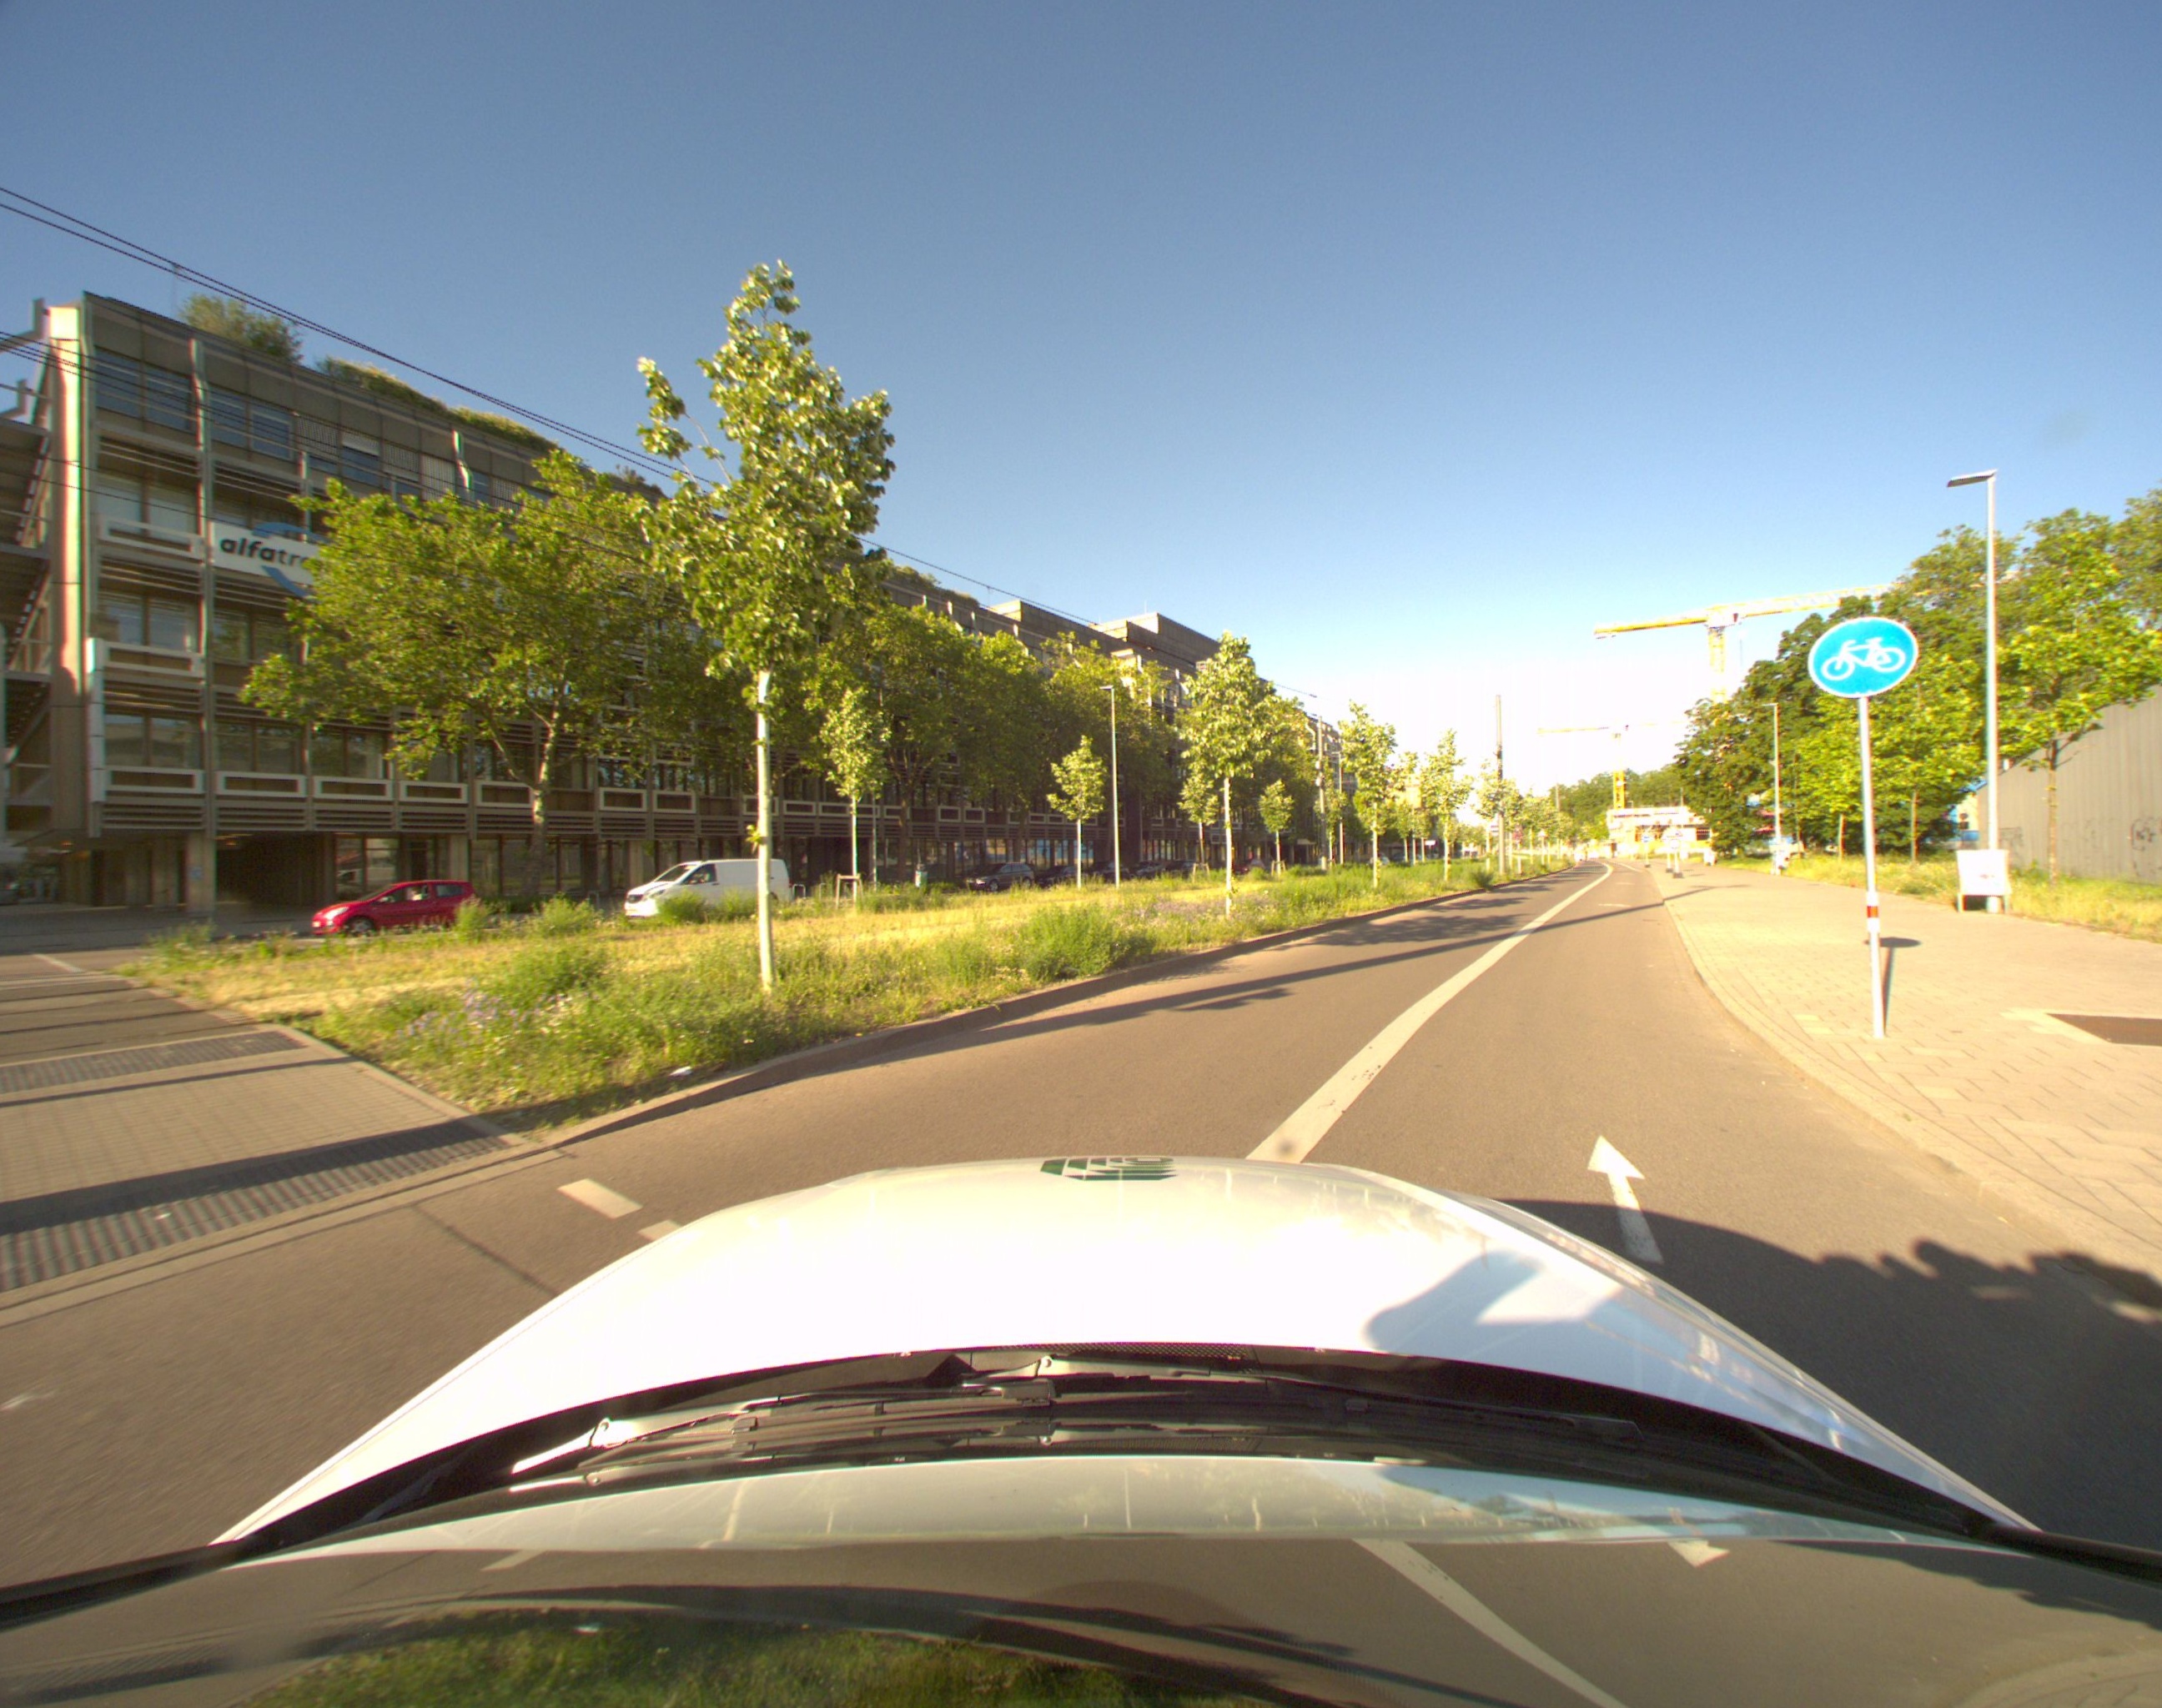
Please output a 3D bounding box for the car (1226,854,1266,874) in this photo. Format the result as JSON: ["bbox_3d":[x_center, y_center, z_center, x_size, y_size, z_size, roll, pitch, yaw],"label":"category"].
[{"bbox_3d":[13.858,0.836,68.379,1.694,1.453,3.598,-5,-2,39],"label":"car"}]

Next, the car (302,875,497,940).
[{"bbox_3d":[-19.138,1.481,23.005,1.822,1.486,3.905,-5,-2,38],"label":"car"}]

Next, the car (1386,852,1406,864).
[{"bbox_3d":[46.648,0.570,120.481,1.885,1.575,4.328,-2,0,33],"label":"car"}]

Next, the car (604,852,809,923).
[{"bbox_3d":[-12.244,1.038,27.077,2.237,2.014,5.745,-4,-2,38],"label":"car"}]

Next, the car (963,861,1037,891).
[{"bbox_3d":[-4.950,1.320,50.405,1.974,1.680,4.899,0,0,33],"label":"car"}]

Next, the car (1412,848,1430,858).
[{"bbox_3d":[55.920,-0.134,133.998,1.885,1.575,4.328,-2,0,33],"label":"car"}]

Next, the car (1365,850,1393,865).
[{"bbox_3d":[33.576,0.368,91.698,1.822,1.594,4.723,-1,0,35],"label":"car"}]

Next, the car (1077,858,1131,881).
[{"bbox_3d":[1.736,1.120,59.768,1.727,1.557,4.653,0,0,34],"label":"car"}]

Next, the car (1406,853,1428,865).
[{"bbox_3d":[45.253,0.599,109.690,1.741,1.516,4.612,-3,-1,35],"label":"car"}]

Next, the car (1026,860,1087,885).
[{"bbox_3d":[-1.623,1.220,54.916,1.974,1.521,4.025,-1,0,38],"label":"car"}]

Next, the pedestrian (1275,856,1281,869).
[{"bbox_3d":[22.273,0.969,92.131,0.659,1.532,0.651,-2,-1,12],"label":"pedestrian"}]

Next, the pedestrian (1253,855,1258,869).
[{"bbox_3d":[20.080,0.910,93.551,0.405,1.561,0.450,-2,-1,35],"label":"pedestrian"}]

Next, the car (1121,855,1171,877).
[{"bbox_3d":[5.222,0.939,65.186,1.892,1.632,4.390,-4,-2,37],"label":"car"}]

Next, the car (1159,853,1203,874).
[{"bbox_3d":[8.540,0.792,69.513,1.842,1.596,4.304,-3,-1,36],"label":"car"}]

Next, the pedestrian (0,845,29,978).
[{"bbox_3d":[-16.253,0.839,11.822,1.020,1.911,1.038,-1,0,-42],"label":"pedestrian"}]
